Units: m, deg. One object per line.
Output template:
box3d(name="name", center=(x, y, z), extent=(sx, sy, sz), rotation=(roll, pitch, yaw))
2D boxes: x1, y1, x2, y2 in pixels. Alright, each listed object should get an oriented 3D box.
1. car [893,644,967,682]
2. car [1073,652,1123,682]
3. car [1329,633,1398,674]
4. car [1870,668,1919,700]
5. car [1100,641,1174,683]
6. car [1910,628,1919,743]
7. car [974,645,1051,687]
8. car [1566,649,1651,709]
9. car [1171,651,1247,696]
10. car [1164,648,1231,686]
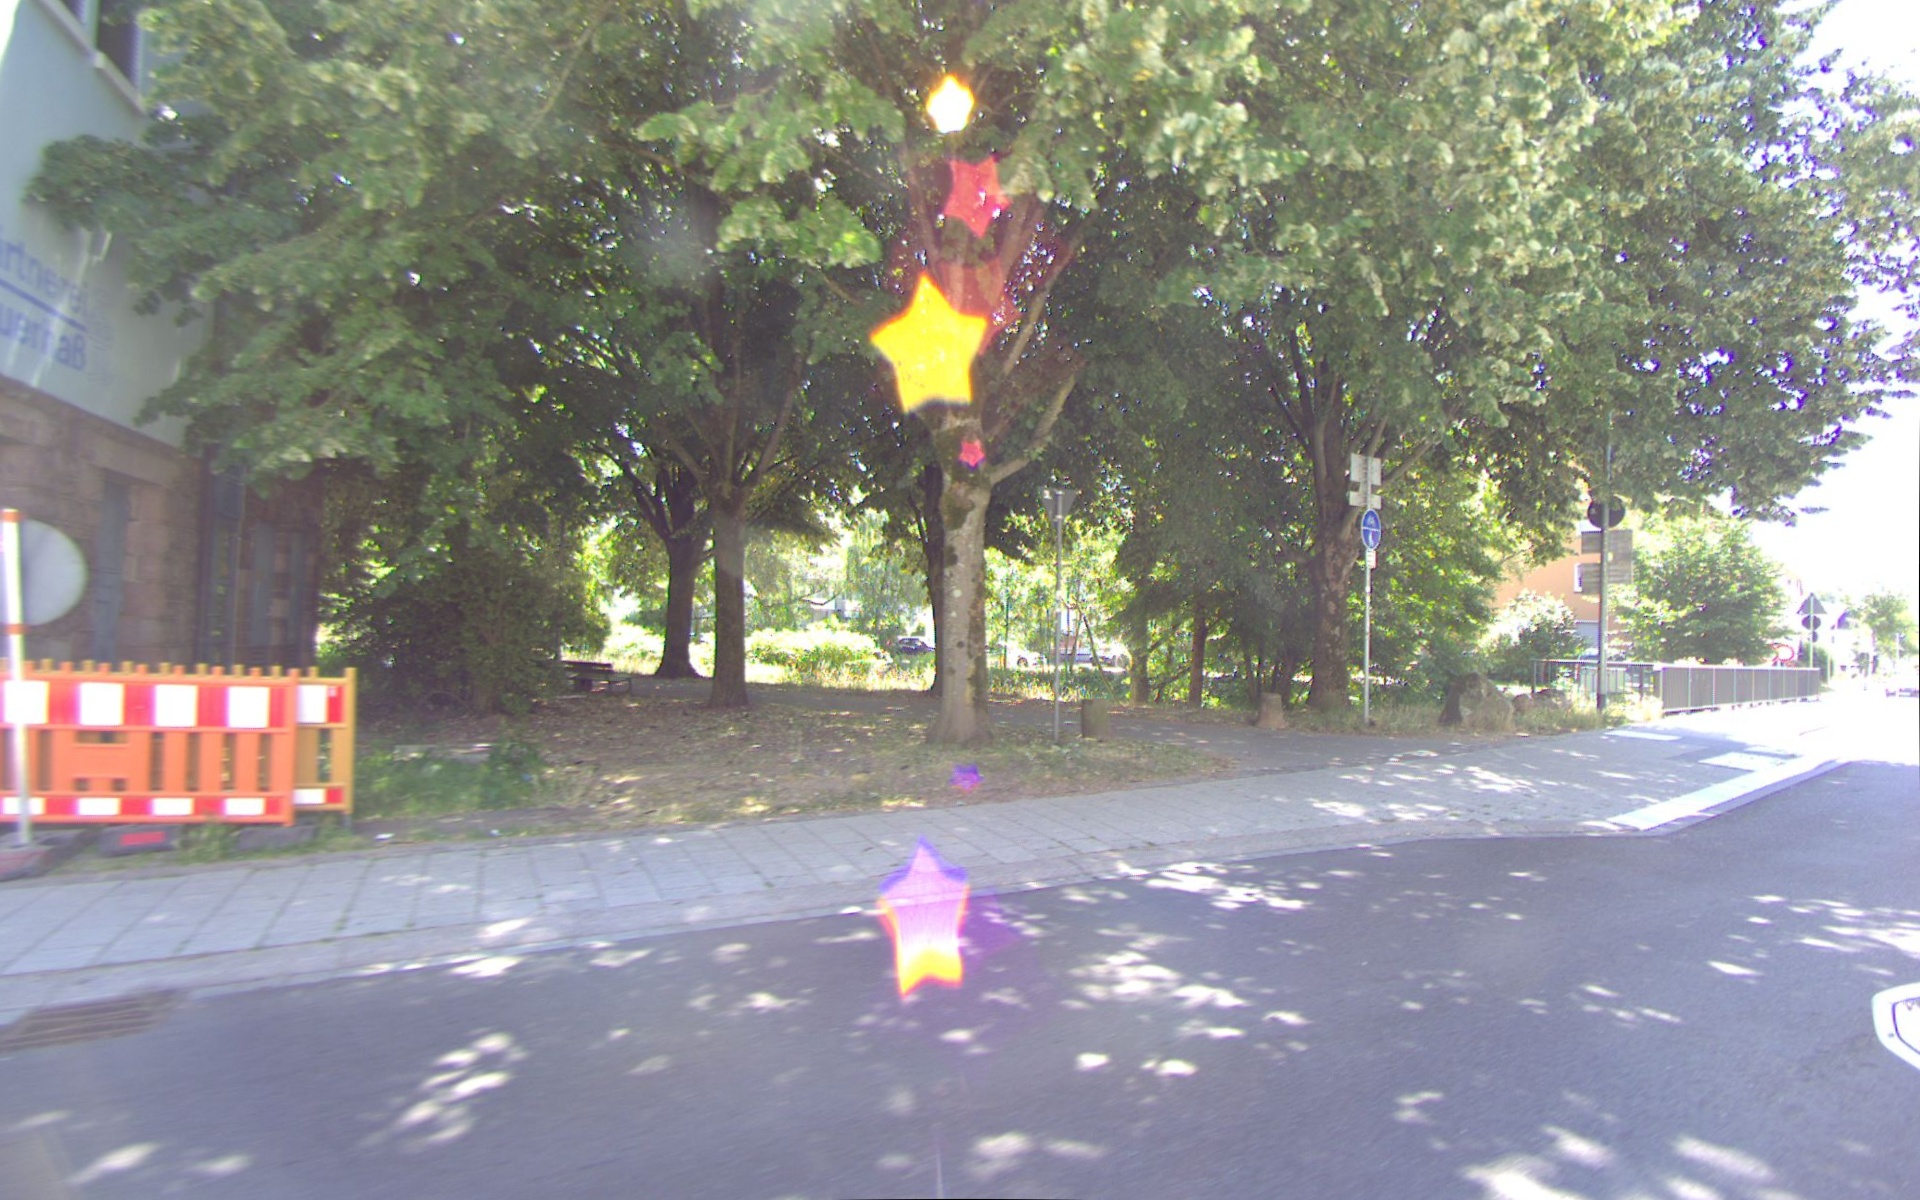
box3d(name="car", center=(-1.767, 3.701, 59.655), extent=(3.931, 2.040, 1.995), rotation=(1, -1, 33))
box3d(name="car", center=(8.897, 4.256, 64.495), extent=(1.963, 1.706, 3.995), rotation=(1, -1, 27))
box3d(name="car", center=(21.957, 2.905, 54.593), extent=(3.972, 2.040, 1.975), rotation=(3, -2, -43))
box3d(name="car", center=(56.381, 5.027, 60.531), extent=(3.974, 1.681, 1.974), rotation=(4, 0, -44))
box3d(name="car", center=(9.274, 3.187, 52.453), extent=(1.972, 2.040, 3.977), rotation=(0, -1, 43))
box3d(name="car", center=(17.100, 1.380, 16.423), extent=(4.301, 1.795, 1.727), rotation=(3, -3, -39))
box3d(name="car", center=(2.876, 3.620, 55.567), extent=(1.987, 2.040, 3.946), rotation=(2, -1, -45))
box3d(name="car", center=(24.347, 2.887, 37.680), extent=(1.972, 2.040, 3.976), rotation=(0, -1, 44))
box3d(name="car", center=(12.462, 3.640, 50.148), extent=(1.972, 2.040, 3.978), rotation=(0, -2, 43))
box3d(name="car", center=(13.638, 3.832, 57.600), extent=(1.973, 2.040, 3.976), rotation=(0, -2, 44))
